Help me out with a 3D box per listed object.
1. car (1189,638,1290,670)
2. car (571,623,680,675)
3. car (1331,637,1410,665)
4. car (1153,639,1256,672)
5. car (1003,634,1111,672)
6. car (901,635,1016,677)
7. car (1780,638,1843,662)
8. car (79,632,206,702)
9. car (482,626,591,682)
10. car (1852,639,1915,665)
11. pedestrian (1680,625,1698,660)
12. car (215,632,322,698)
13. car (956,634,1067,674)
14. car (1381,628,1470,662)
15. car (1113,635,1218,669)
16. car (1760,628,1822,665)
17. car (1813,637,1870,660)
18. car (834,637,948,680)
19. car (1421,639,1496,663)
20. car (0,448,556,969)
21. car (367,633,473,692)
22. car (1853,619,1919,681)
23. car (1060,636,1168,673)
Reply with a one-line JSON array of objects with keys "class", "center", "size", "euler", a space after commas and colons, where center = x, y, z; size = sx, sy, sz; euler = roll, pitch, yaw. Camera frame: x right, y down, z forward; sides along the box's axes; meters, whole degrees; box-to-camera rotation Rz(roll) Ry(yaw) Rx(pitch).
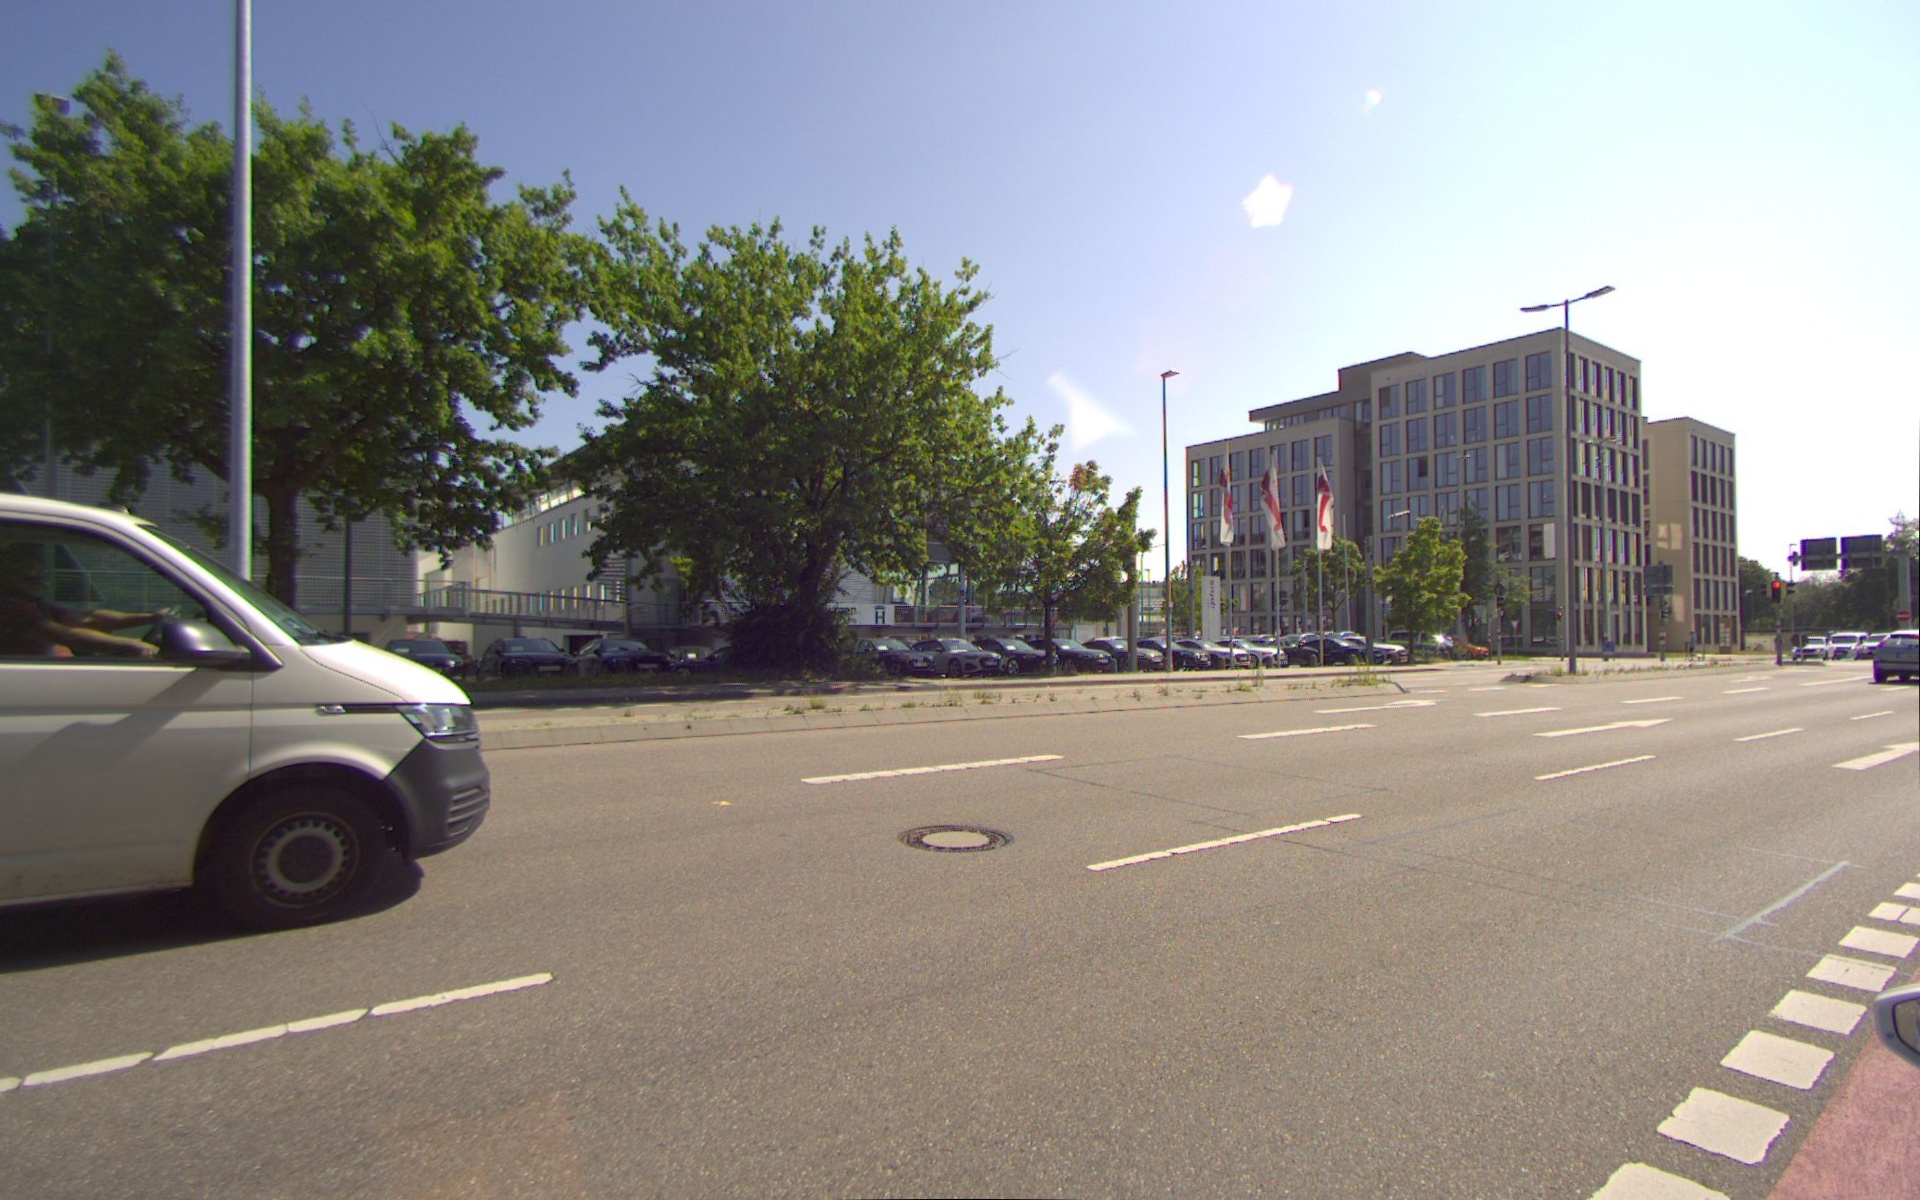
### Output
[{"class": "car", "center": [12.339, 2.367, 44.525], "size": [1.982, 1.360, 3.959], "euler": [1, -3, -37]}, {"class": "car", "center": [-9.652, 1.387, 28.811], "size": [1.905, 1.394, 3.961], "euler": [1, -3, -36]}, {"class": "car", "center": [20.817, 2.557, 50.996], "size": [1.627, 1.361, 3.392], "euler": [1, -3, -33]}, {"class": "car", "center": [10.407, 2.346, 43.014], "size": [1.982, 1.360, 3.959], "euler": [1, -3, -37]}, {"class": "car", "center": [3.627, 1.999, 38.113], "size": [1.982, 1.360, 3.959], "euler": [1, -3, -37]}, {"class": "car", "center": [-0.105, 1.934, 35.173], "size": [1.982, 1.360, 4.121], "euler": [1, -3, -37]}, {"class": "car", "center": [52.998, 3.107, 62.517], "size": [3.956, 1.483, 1.882], "euler": [1, -3, -32]}, {"class": "car", "center": [-17.959, 1.436, 22.240], "size": [1.905, 1.394, 3.961], "euler": [1, -3, -36]}, {"class": "car", "center": [-11.570, 1.449, 27.321], "size": [1.905, 1.394, 3.961], "euler": [1, -3, -36]}, {"class": "car", "center": [55.760, 3.116, 60.652], "size": [3.956, 1.483, 1.806], "euler": [1, -3, -32]}, {"class": "pedestrian", "center": [44.670, 2.594, 61.542], "size": [0.744, 2.041, 0.933], "euler": [0, 1, 29]}, {"class": "car", "center": [-16.221, 1.481, 23.559], "size": [1.905, 1.394, 3.961], "euler": [1, -3, -36]}, {"class": "car", "center": [1.828, 1.936, 36.695], "size": [1.982, 1.360, 3.959], "euler": [1, -3, -37]}, {"class": "car", "center": [29.796, 2.860, 64.432], "size": [1.980, 2.077, 4.884], "euler": [1, -3, -34]}, {"class": "car", "center": [8.432, 2.129, 41.491], "size": [1.982, 1.360, 3.959], "euler": [1, -3, -37]}, {"class": "car", "center": [32.990, 1.809, 39.853], "size": [2.771, 1.349, 1.207], "euler": [0, 1, -35]}, {"class": "car", "center": [58.691, 3.199, 66.856], "size": [3.956, 1.483, 1.806], "euler": [1, -3, -32]}, {"class": "car", "center": [-2.358, 1.912, 33.441], "size": [1.982, 1.328, 3.959], "euler": [1, -3, -37]}, {"class": "car", "center": [32.714, 3.339, 66.016], "size": [1.980, 1.483, 3.962], "euler": [1, -3, -34]}, {"class": "car", "center": [-4.591, 0.444, 4.423], "size": [4.927, 2.020, 1.869], "euler": [1, -3, -37]}, {"class": "car", "center": [-13.916, 1.566, 25.800], "size": [1.905, 1.394, 3.961], "euler": [1, -3, -36]}, {"class": "car", "center": [27.619, 1.418, 28.966], "size": [3.961, 1.706, 1.980], "euler": [1, -3, -36]}, {"class": "car", "center": [6.048, 2.140, 39.812], "size": [1.982, 1.360, 3.957], "euler": [1, -3, -38]}]
